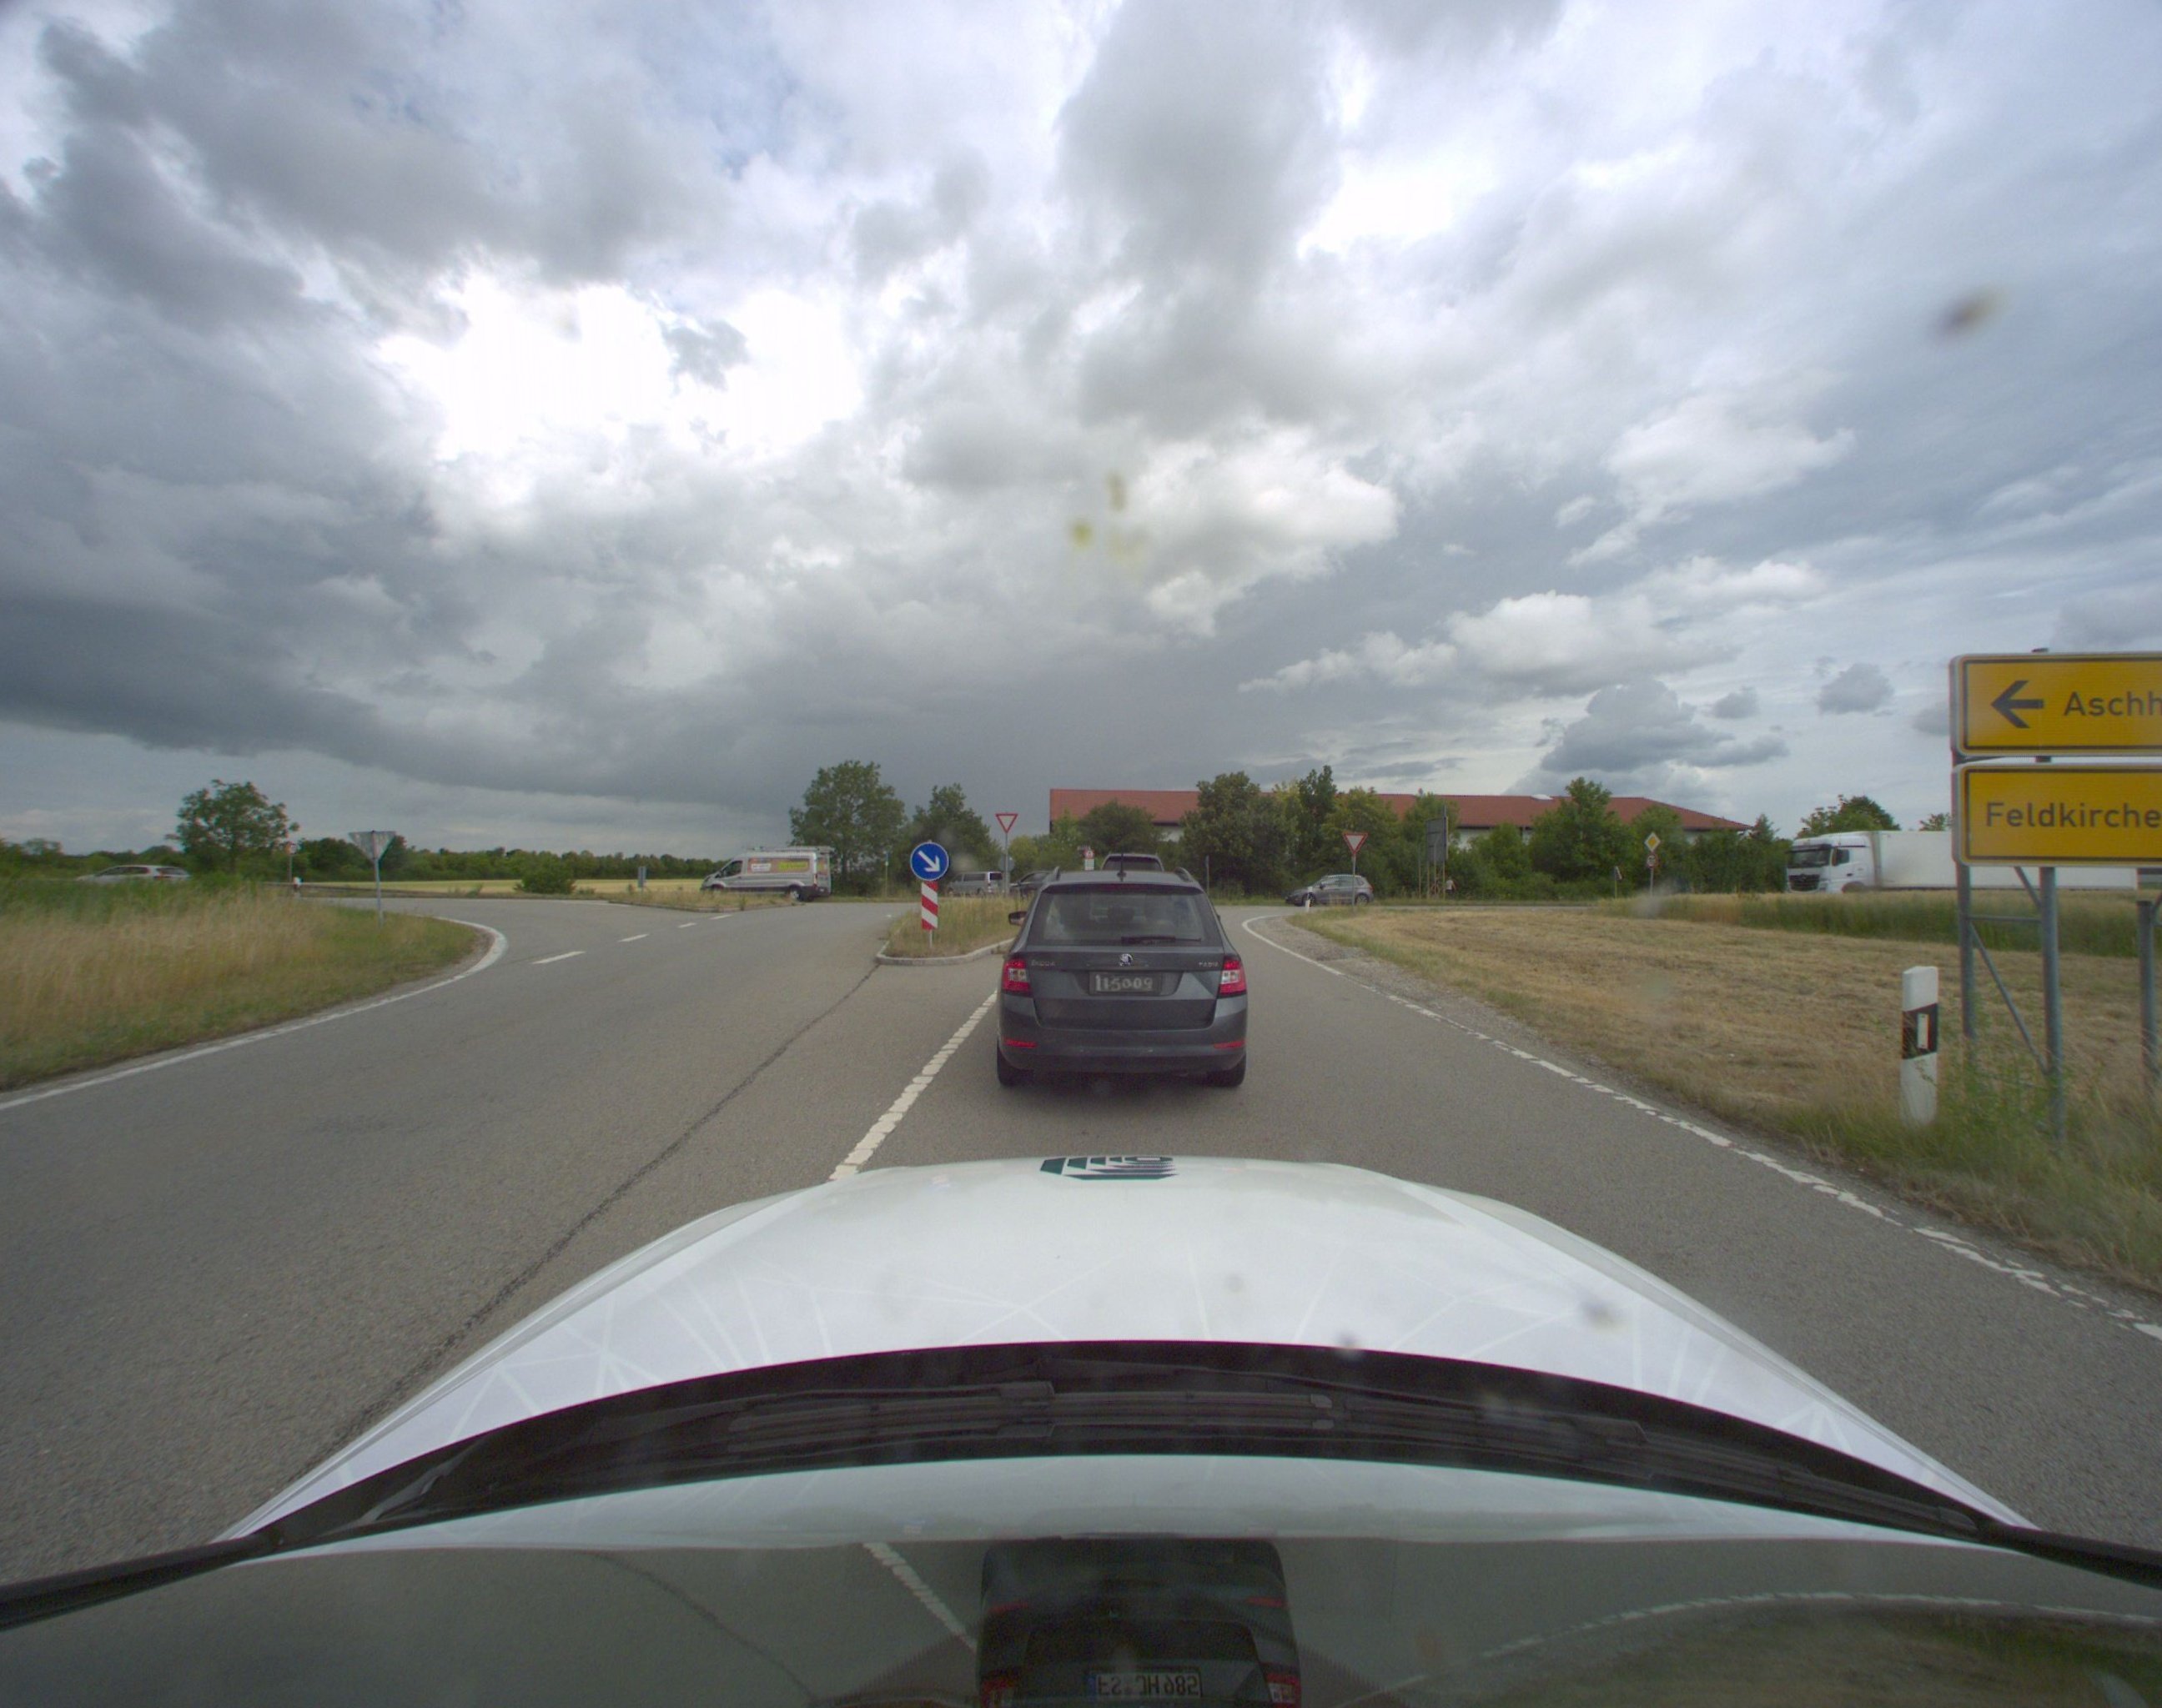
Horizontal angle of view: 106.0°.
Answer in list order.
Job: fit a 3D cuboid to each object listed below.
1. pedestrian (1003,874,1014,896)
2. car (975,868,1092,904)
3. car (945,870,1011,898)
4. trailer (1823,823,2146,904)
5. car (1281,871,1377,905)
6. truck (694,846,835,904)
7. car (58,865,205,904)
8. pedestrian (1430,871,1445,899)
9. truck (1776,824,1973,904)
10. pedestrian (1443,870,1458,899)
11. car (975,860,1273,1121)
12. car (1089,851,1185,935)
[{"bbox_3d":[-5.656,2.418,63.359,0.523,1.726,0.645,-1,-1,36],"label":"pedestrian"},{"bbox_3d":[-1.861,1.246,32.260,4.307,1.345,1.689,-1,-1,17],"label":"car"},{"bbox_3d":[-8.051,2.305,63.738,4.851,2.014,2.357,-1,-1,37],"label":"car"},{"bbox_3d":[47.213,0.567,42.798,13.803,4.015,3.126,0,-3,-2],"label":"trailer"},{"bbox_3d":[12.312,1.671,40.652,4.198,1.601,1.999,-1,-1,-1],"label":"car"},{"bbox_3d":[-15.313,0.981,39.617,6.007,2.703,2.065,0,-1,-2],"label":"truck"},{"bbox_3d":[-43.234,1.367,37.178,3.984,1.662,1.995,0,-1,-8],"label":"car"},{"bbox_3d":[21.502,1.880,49.170,0.625,1.682,0.529,0,-1,-7],"label":"pedestrian"},{"bbox_3d":[41.328,0.566,42.618,7.263,4.015,3.126,0,-3,-2],"label":"truck"},{"bbox_3d":[21.678,1.801,47.768,0.625,1.682,0.529,0,-1,-7],"label":"pedestrian"},{"bbox_3d":[0.300,0.789,6.441,1.670,1.463,3.709,0,-1,2],"label":"car"},{"bbox_3d":[1.217,0.917,19.749,1.987,1.775,4.642,1,-2,0],"label":"car"}]
